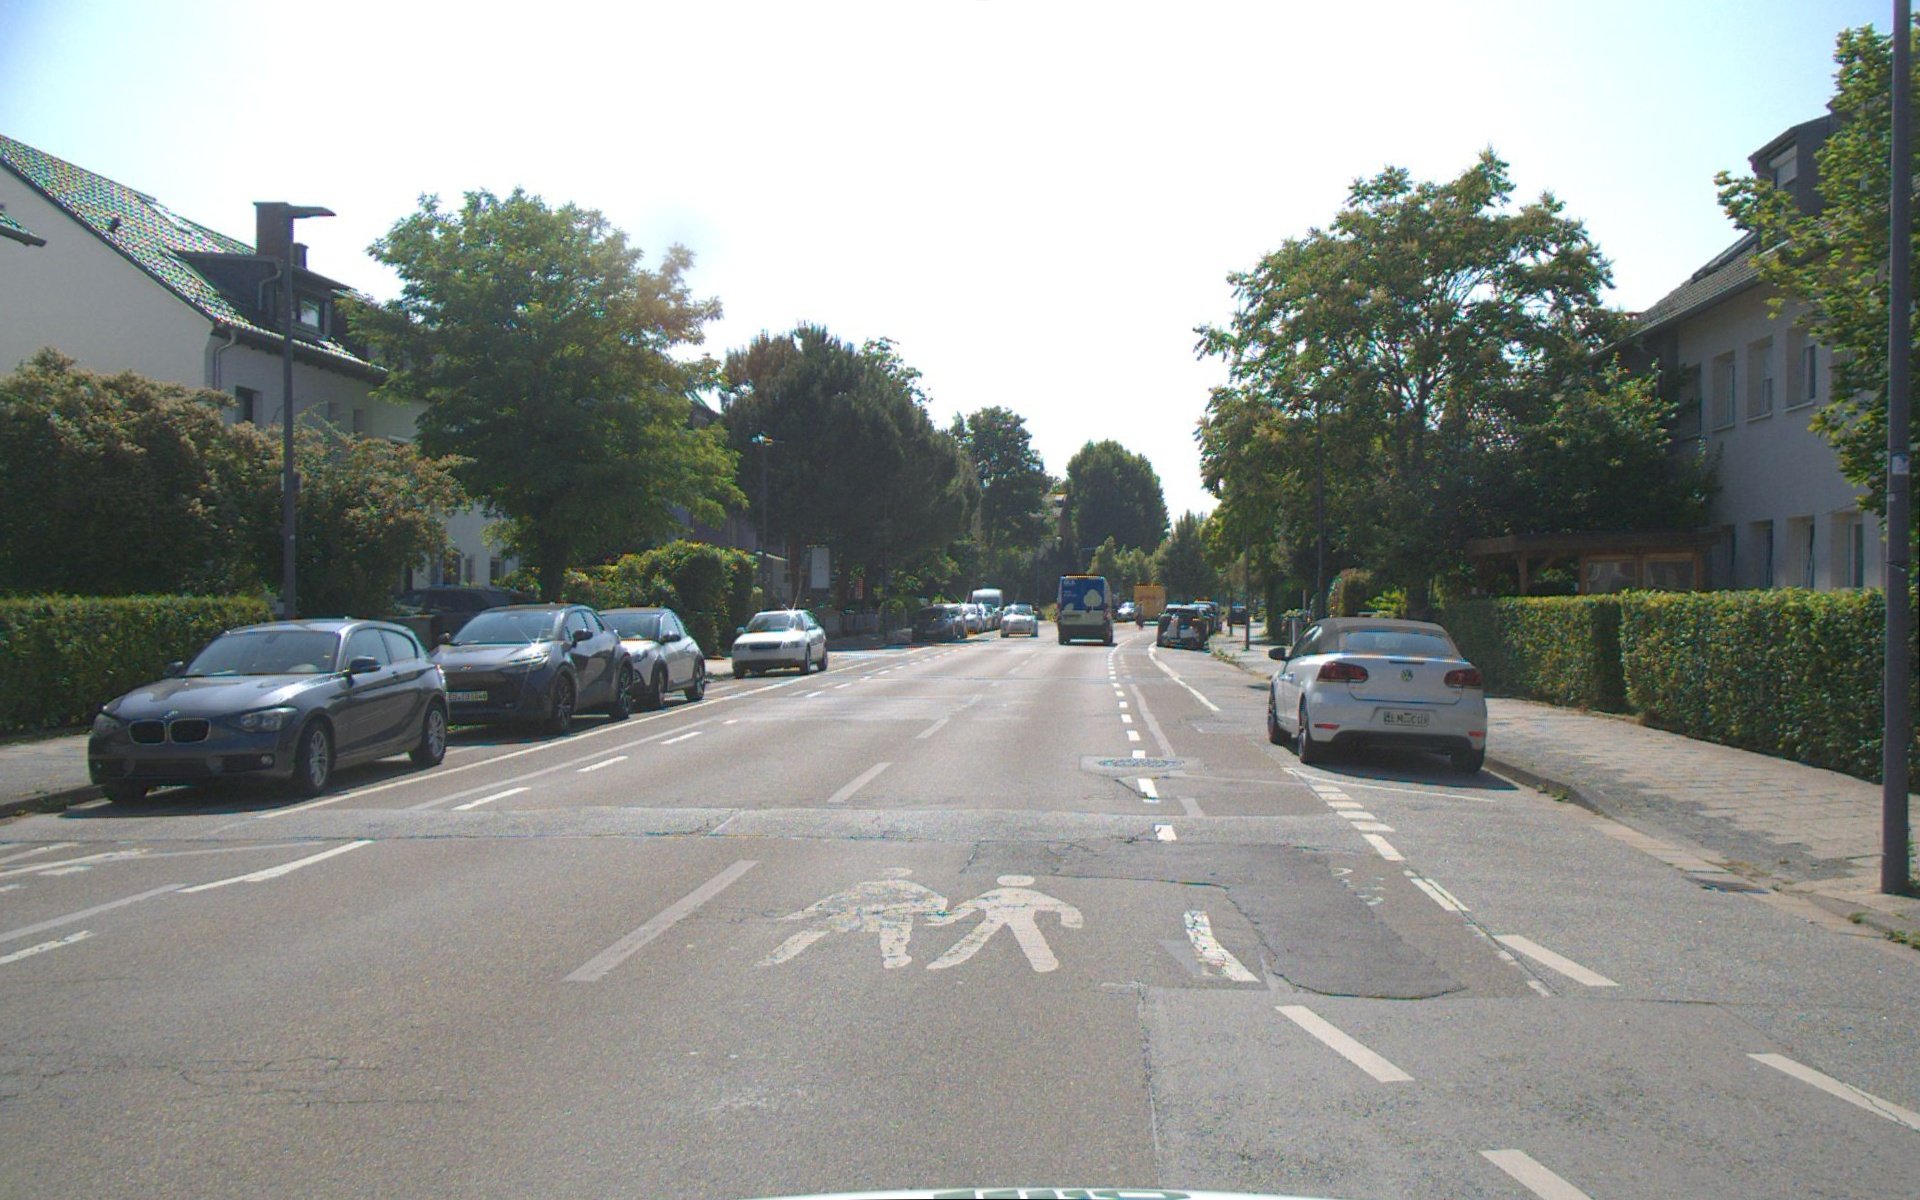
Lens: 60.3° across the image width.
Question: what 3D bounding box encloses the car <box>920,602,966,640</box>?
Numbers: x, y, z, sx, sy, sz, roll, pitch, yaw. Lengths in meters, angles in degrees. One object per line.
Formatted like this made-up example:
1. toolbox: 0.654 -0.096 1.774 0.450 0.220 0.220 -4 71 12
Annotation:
1. car: -0.768 0.970 78.072 1.869 1.706 4.260 -2 0 3

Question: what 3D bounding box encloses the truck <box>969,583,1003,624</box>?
1. truck: 1.703 0.249 107.244 2.037 2.582 5.468 0 0 2

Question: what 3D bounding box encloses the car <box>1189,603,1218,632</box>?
1. car: 14.478 1.024 98.527 1.664 1.706 3.778 0 -1 8

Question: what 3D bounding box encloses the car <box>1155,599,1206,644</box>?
1. car: 8.674 0.832 64.884 1.747 1.667 4.474 2 0 10

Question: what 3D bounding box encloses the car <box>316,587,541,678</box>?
1. car: -10.815 0.637 33.842 3.902 1.790 2.001 0 0 5

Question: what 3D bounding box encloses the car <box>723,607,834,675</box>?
1. car: -4.081 0.904 37.837 1.747 1.465 4.002 0 0 5

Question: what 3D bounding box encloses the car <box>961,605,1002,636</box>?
1. car: 1.171 1.127 88.786 1.796 1.623 3.777 0 -1 6

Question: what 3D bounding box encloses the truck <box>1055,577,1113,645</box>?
1. truck: 4.978 0.453 65.962 2.224 2.616 4.394 0 -1 5

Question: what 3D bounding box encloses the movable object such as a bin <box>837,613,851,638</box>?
1. movable object such as a bin: -5.216 1.153 74.239 0.532 1.131 0.519 0 -1 11

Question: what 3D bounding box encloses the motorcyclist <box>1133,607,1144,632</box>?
1. motorcyclist: 11.141 1.217 103.178 0.658 1.545 0.653 0 -1 6

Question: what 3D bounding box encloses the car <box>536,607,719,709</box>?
1. car: -5.127 0.853 26.041 1.747 1.465 4.002 0 0 5

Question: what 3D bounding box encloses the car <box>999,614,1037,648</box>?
1. car: 2.820 1.475 79.541 1.695 1.568 4.001 -1 -1 3

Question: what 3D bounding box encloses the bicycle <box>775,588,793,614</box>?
1. bicycle: -8.372 0.029 78.748 0.525 1.202 1.447 0 1 7

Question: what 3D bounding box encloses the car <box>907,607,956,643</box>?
1. car: -1.209 1.075 72.255 1.743 1.485 4.088 -2 -1 4

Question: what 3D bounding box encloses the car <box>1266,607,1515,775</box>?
1. car: 4.308 0.834 17.150 1.704 1.426 4.076 3 0 4

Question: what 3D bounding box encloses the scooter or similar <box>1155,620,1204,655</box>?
1. scooter or similar: 8.255 1.417 62.193 0.713 1.174 1.771 4 0 -40

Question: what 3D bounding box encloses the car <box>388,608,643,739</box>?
1. car: -5.486 0.862 20.984 1.747 1.465 4.113 -1 -1 6

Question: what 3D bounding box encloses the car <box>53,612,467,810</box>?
1. car: -5.972 0.862 14.714 1.748 1.465 4.156 -2 0 2

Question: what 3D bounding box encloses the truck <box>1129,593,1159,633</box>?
1. truck: 14.020 1.019 126.029 2.167 2.998 5.689 0 -1 5

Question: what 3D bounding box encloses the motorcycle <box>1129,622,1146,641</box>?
1. motorcycle: 11.084 1.974 103.493 1.034 1.142 2.993 0 -1 5

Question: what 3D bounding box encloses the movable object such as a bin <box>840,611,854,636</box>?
1. movable object such as a bin: -5.109 1.082 74.864 0.532 1.131 0.585 0 -1 11

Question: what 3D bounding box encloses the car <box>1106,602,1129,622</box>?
1. car: 13.460 1.037 141.425 1.951 1.686 4.607 0 0 6
